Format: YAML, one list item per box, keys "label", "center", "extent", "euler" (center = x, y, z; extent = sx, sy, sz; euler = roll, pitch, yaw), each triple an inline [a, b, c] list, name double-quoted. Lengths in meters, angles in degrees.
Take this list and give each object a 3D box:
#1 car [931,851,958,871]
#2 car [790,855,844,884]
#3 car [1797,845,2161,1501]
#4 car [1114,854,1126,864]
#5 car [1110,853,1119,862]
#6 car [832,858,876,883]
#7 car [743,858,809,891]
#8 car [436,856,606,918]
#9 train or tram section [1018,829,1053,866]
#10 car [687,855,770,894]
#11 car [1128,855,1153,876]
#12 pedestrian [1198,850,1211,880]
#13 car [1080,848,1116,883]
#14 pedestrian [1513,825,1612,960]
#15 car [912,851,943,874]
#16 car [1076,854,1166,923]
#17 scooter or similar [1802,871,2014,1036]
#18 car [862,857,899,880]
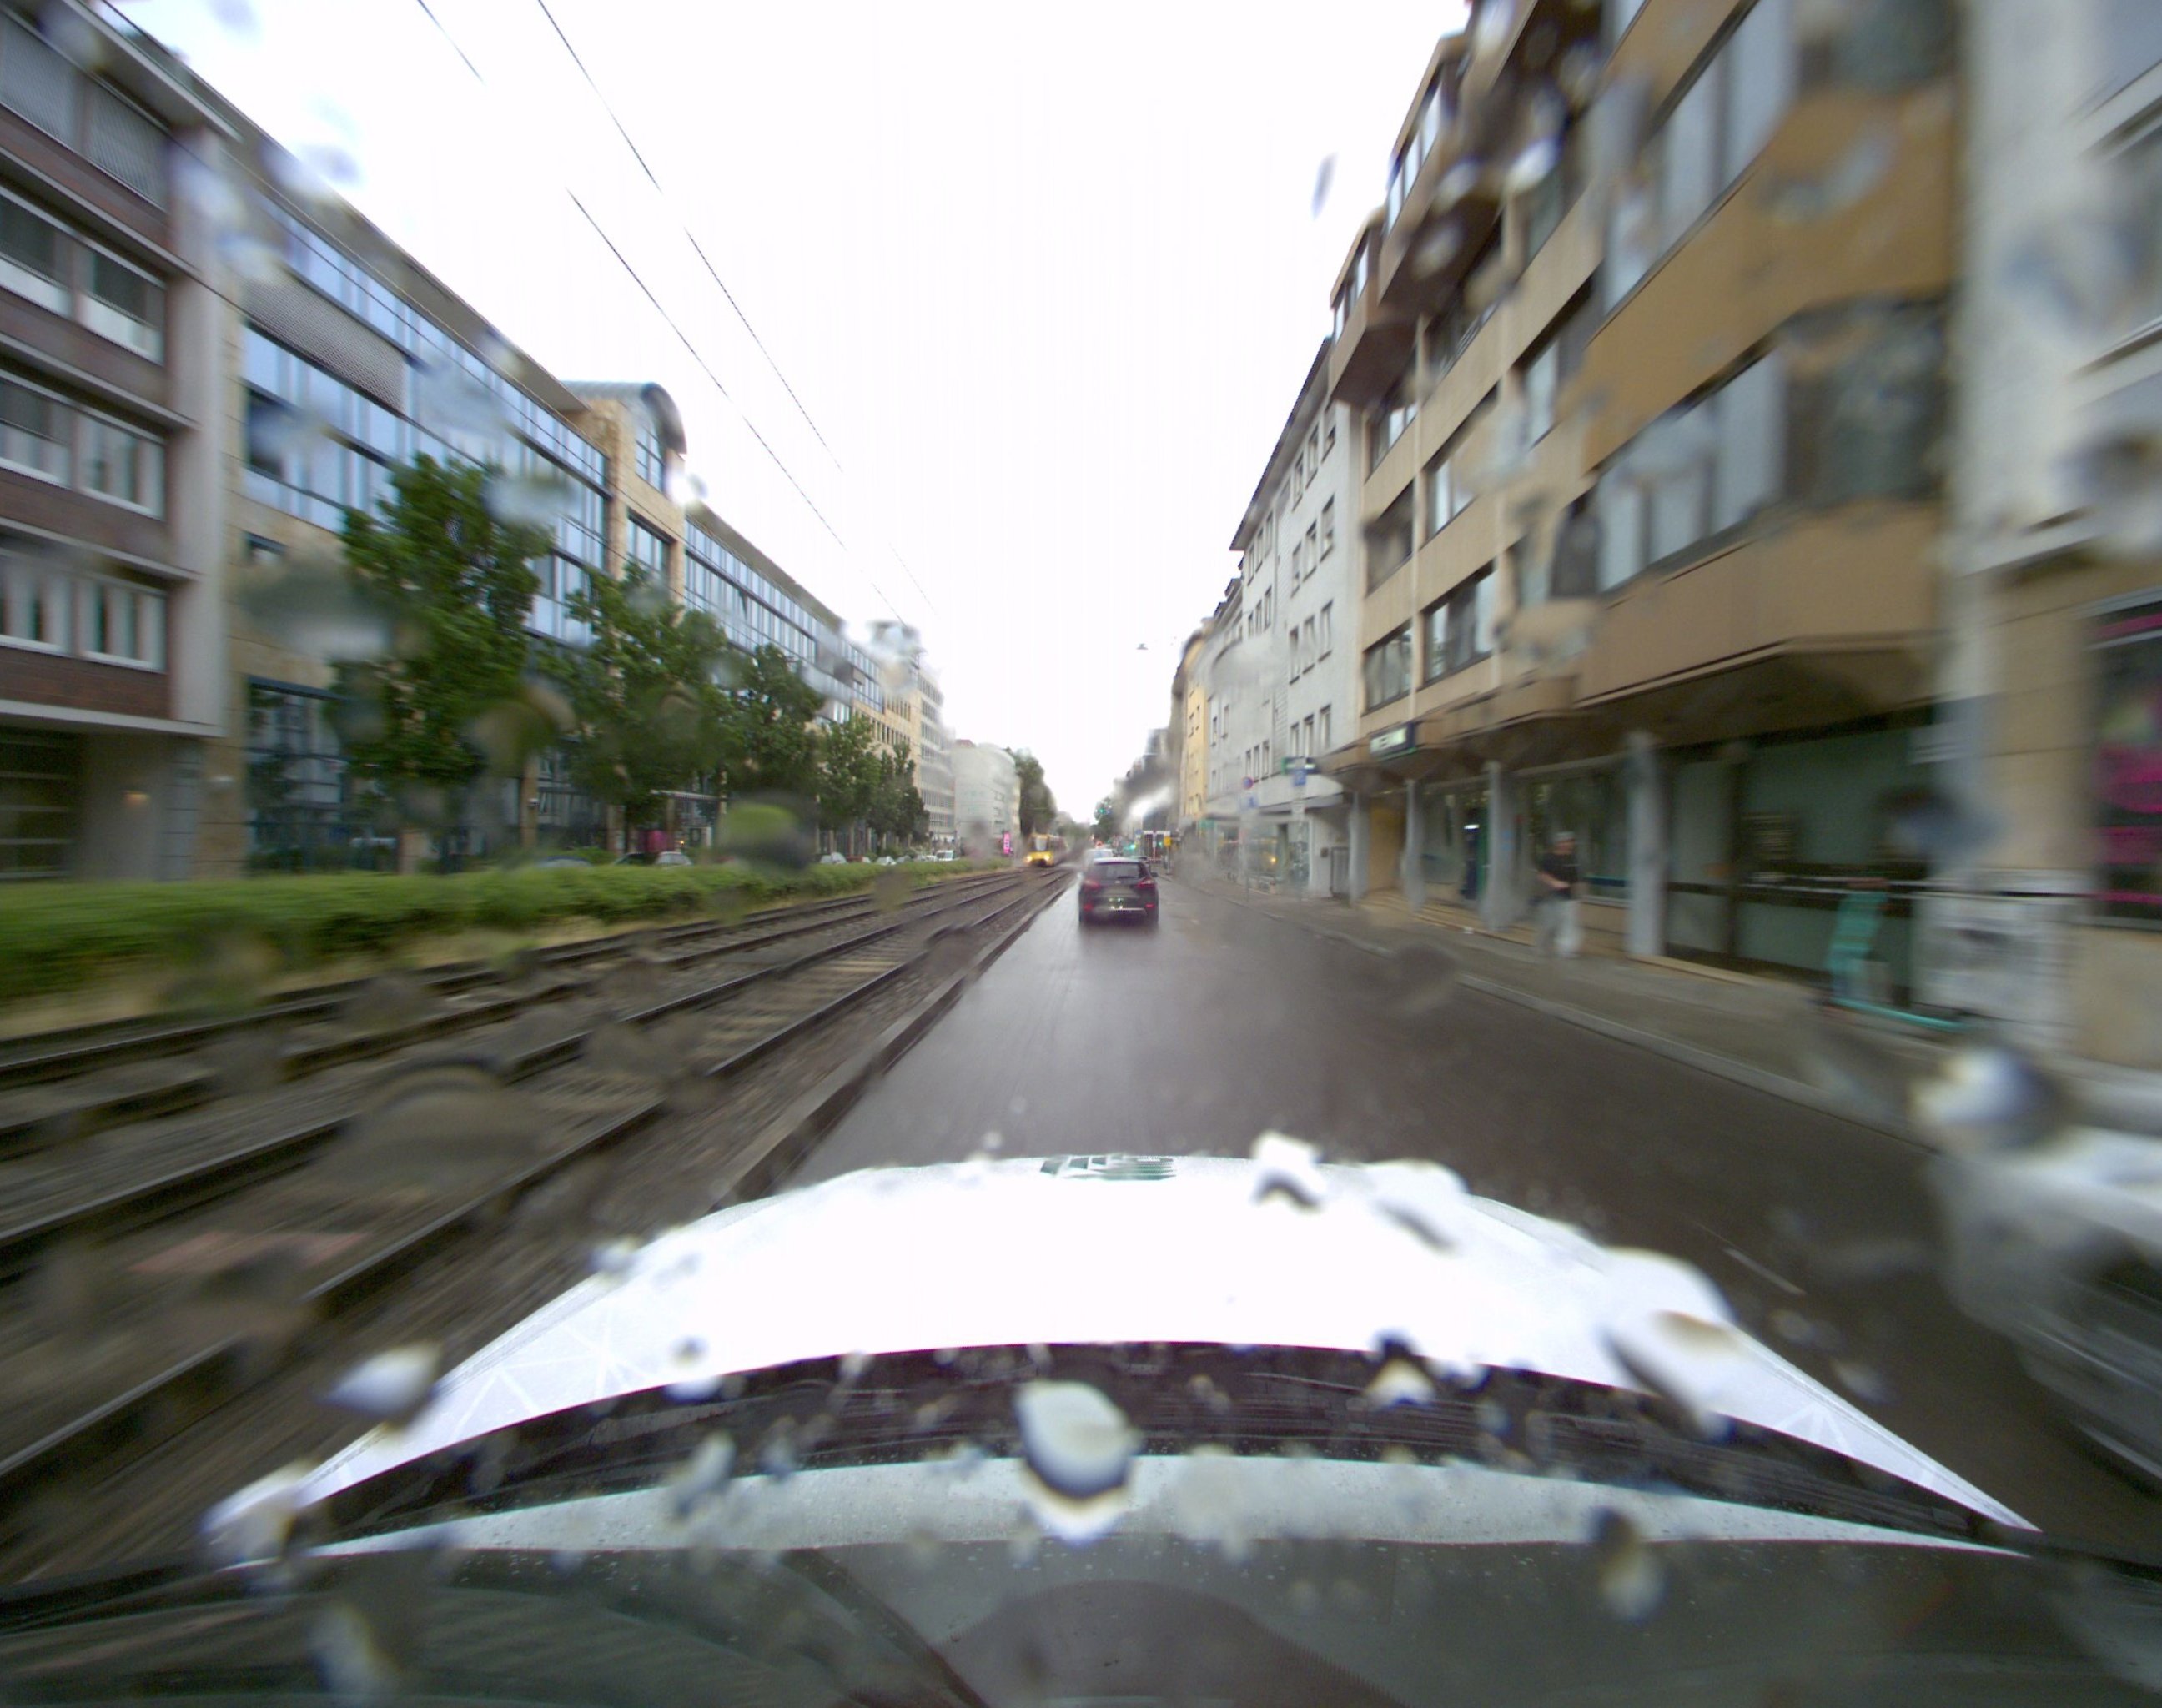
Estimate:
- label: "car"
  center: [-12.844, 0.671, 77.111]
  extent: [1.901, 1.865, 4.570]
  euler: [0, -1, -2]
- label: "car"
  center: [-13.639, 0.780, 42.263]
  extent: [1.564, 1.436, 4.174]
  euler: [0, 0, -2]
- label: "car"
  center: [3.182, 0.713, 1.004]
  extent: [1.551, 1.476, 3.567]
  euler: [0, 0, 2]
- label: "car"
  center: [6.234, 0.784, 129.630]
  extent: [1.899, 1.633, 4.576]
  euler: [0, -1, 2]
- label: "car"
  center: [6.634, 0.718, 161.334]
  extent: [1.899, 1.633, 4.576]
  euler: [0, -1, 2]
- label: "car"
  center: [-13.444, 0.933, 48.368]
  extent: [1.564, 1.436, 4.174]
  euler: [0, 0, -2]
- label: "car"
  center: [-14.015, 0.906, 37.638]
  extent: [1.564, 1.436, 4.174]
  euler: [0, 0, -2]
- label: "car"
  center: [-14.159, 0.773, 20.922]
  extent: [1.564, 1.436, 4.174]
  euler: [0, 0, -2]
- label: "train or tram section"
  center: [-4.901, -0.638, 90.082]
  extent: [3.503, 3.777, 11.324]
  euler: [0, 0, -1]
- label: "car"
  center: [-13.868, 0.766, 32.269]
  extent: [1.564, 1.436, 4.174]
  euler: [0, 0, -2]
- label: "car"
  center: [4.925, 0.976, 67.825]
  extent: [1.899, 1.633, 4.576]
  euler: [0, -1, 2]
- label: "pedestrian"
  center: [6.334, 0.568, 41.751]
  extent: [0.609, 1.538, 0.649]
  euler: [0, -1, 0]
- label: "car"
  center: [1.030, 0.640, 46.065]
  extent: [1.899, 1.865, 4.577]
  euler: [0, -1, 3]
- label: "pedestrian"
  center: [6.136, 0.473, 10.427]
  extent: [0.693, 1.652, 0.965]
  euler: [0, -1, 0]
- label: "car"
  center: [-13.222, 0.755, 70.297]
  extent: [1.901, 1.865, 4.570]
  euler: [0, -1, -2]
- label: "car"
  center: [0.905, 0.754, 19.032]
  extent: [1.899, 1.462, 3.446]
  euler: [0, -1, 2]
- label: "scooter or similar"
  center: [6.069, 0.677, 6.056]
  extent: [0.209, 1.083, 1.231]
  euler: [0, -1, -7]
- label: "car"
  center: [-13.233, 0.931, 53.959]
  extent: [1.564, 1.436, 4.174]
  euler: [0, 0, -2]
